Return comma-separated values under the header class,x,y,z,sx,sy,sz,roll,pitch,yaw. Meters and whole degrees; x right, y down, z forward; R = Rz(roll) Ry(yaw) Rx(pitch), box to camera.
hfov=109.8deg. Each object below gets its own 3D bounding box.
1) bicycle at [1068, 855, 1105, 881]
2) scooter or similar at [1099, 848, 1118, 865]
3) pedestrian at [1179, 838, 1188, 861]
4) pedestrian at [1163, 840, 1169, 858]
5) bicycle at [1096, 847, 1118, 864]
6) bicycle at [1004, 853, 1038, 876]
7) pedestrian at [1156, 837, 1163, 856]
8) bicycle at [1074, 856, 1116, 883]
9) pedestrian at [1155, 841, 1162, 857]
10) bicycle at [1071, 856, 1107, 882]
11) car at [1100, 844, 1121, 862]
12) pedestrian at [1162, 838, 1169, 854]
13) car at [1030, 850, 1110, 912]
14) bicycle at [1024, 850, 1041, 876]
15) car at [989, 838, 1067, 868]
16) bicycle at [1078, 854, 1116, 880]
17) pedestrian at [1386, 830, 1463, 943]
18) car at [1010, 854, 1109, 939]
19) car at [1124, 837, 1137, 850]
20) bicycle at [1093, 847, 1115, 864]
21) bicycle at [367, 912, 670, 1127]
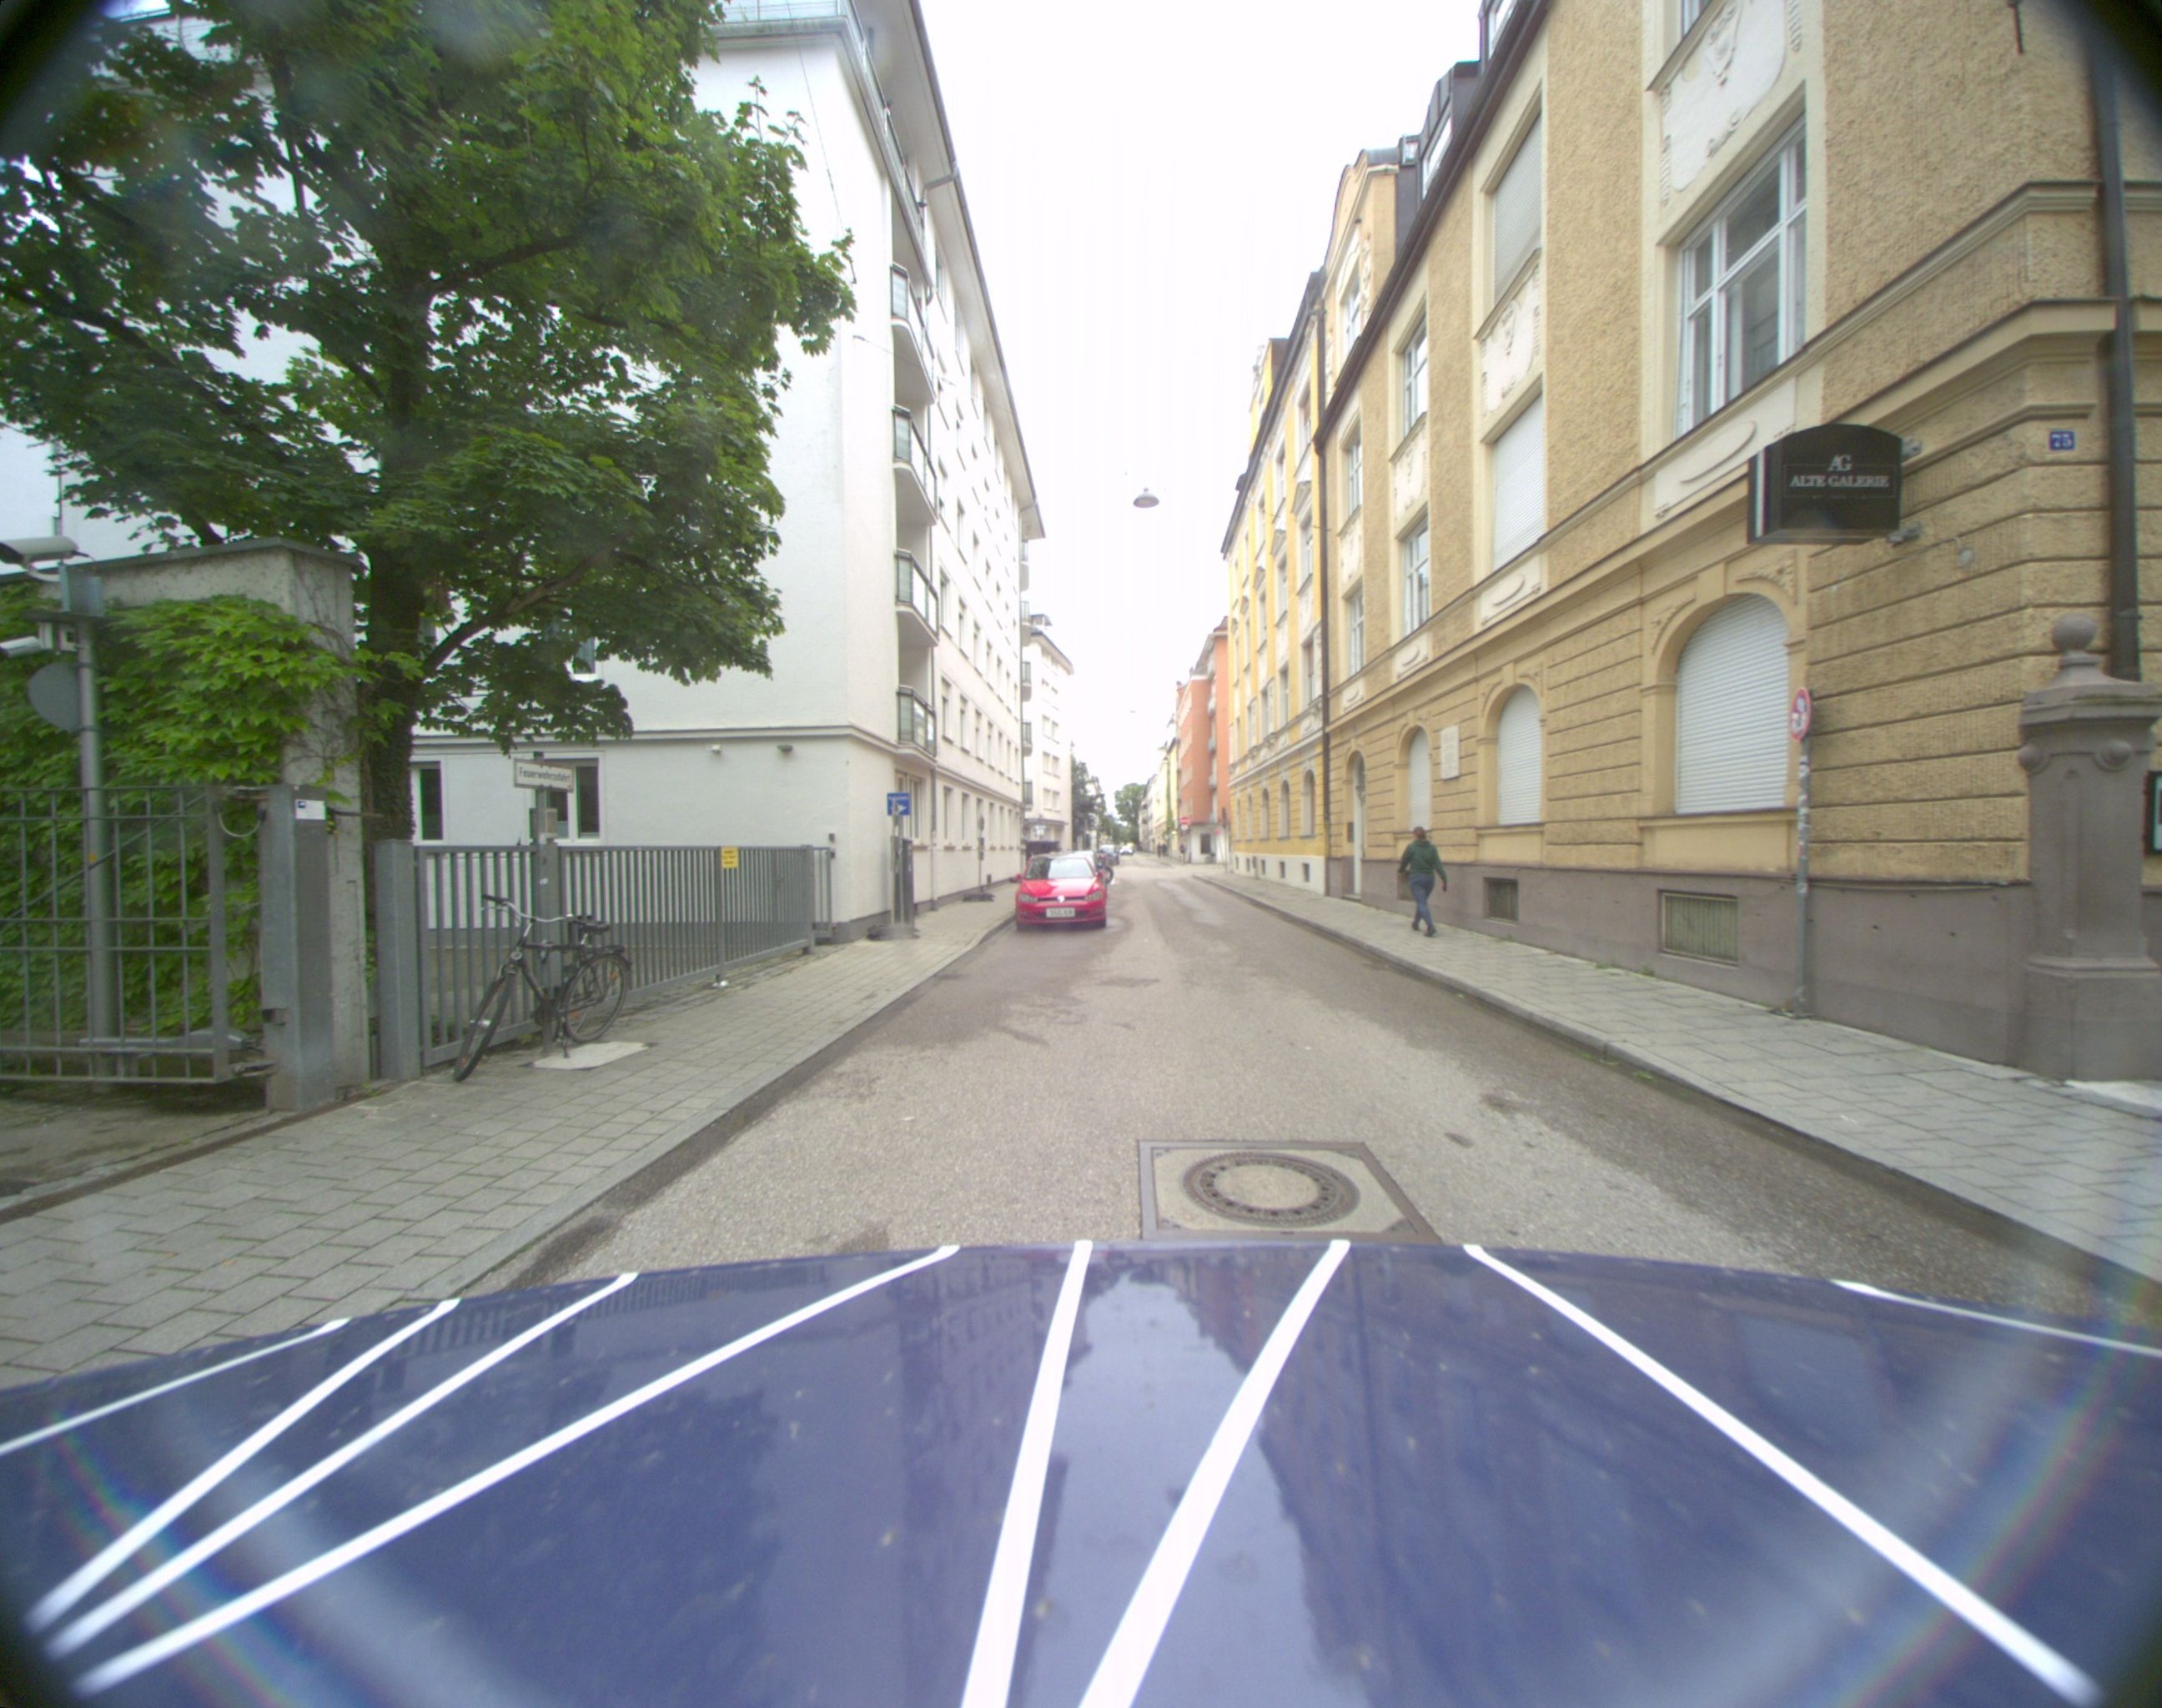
class,x,y,z,sx,sy,sz,roll,pitch,yaw
bicycle,0.255,0.600,32.589,1.519,1.038,0.360,2,2,11
scooter or similar,1.991,0.150,54.640,1.340,1.207,0.344,0,2,6
pedestrian,7.763,-0.340,57.795,0.613,1.684,0.566,0,2,2
pedestrian,9.374,-0.539,83.895,0.634,2.002,0.788,1,1,4
bicycle,1.910,0.120,56.072,1.607,1.207,0.529,0,2,6
bicycle,-2.819,0.488,35.612,1.502,1.038,0.398,1,2,-15
pedestrian,8.644,-0.833,83.792,0.634,2.002,0.788,1,1,4
bicycle,0.572,0.630,31.191,1.706,1.038,0.360,1,2,4
pedestrian,8.526,-0.578,83.428,0.725,1.783,0.830,0,1,3
bicycle,0.349,0.620,31.670,1.438,1.038,0.330,2,2,11
car,2.446,-0.082,62.448,1.653,1.391,4.000,0,1,3
pedestrian,9.268,-0.892,83.486,0.699,1.783,0.763,0,2,4
car,-0.191,0.678,21.455,1.798,1.430,4.384,-2,1,4
bicycle,-2.400,0.421,37.441,0.399,1.198,1.502,1,2,-22
car,-3.396,-0.041,48.939,4.675,1.880,1.935,0,1,11
bicycle,0.718,0.584,34.575,1.699,1.154,0.378,-1,1,2
pedestrian,5.316,0.484,11.815,0.714,1.656,0.930,-4,1,3
car,-0.489,0.782,16.186,1.766,1.438,4.297,-2,1,-3
car,7.400,-1.572,114.031,1.929,1.795,4.444,-1,1,3
bicycle,1.708,0.109,56.655,1.607,1.207,0.529,0,2,6
bicycle,-3.827,1.047,5.417,0.709,1.191,1.835,-1,-2,4
